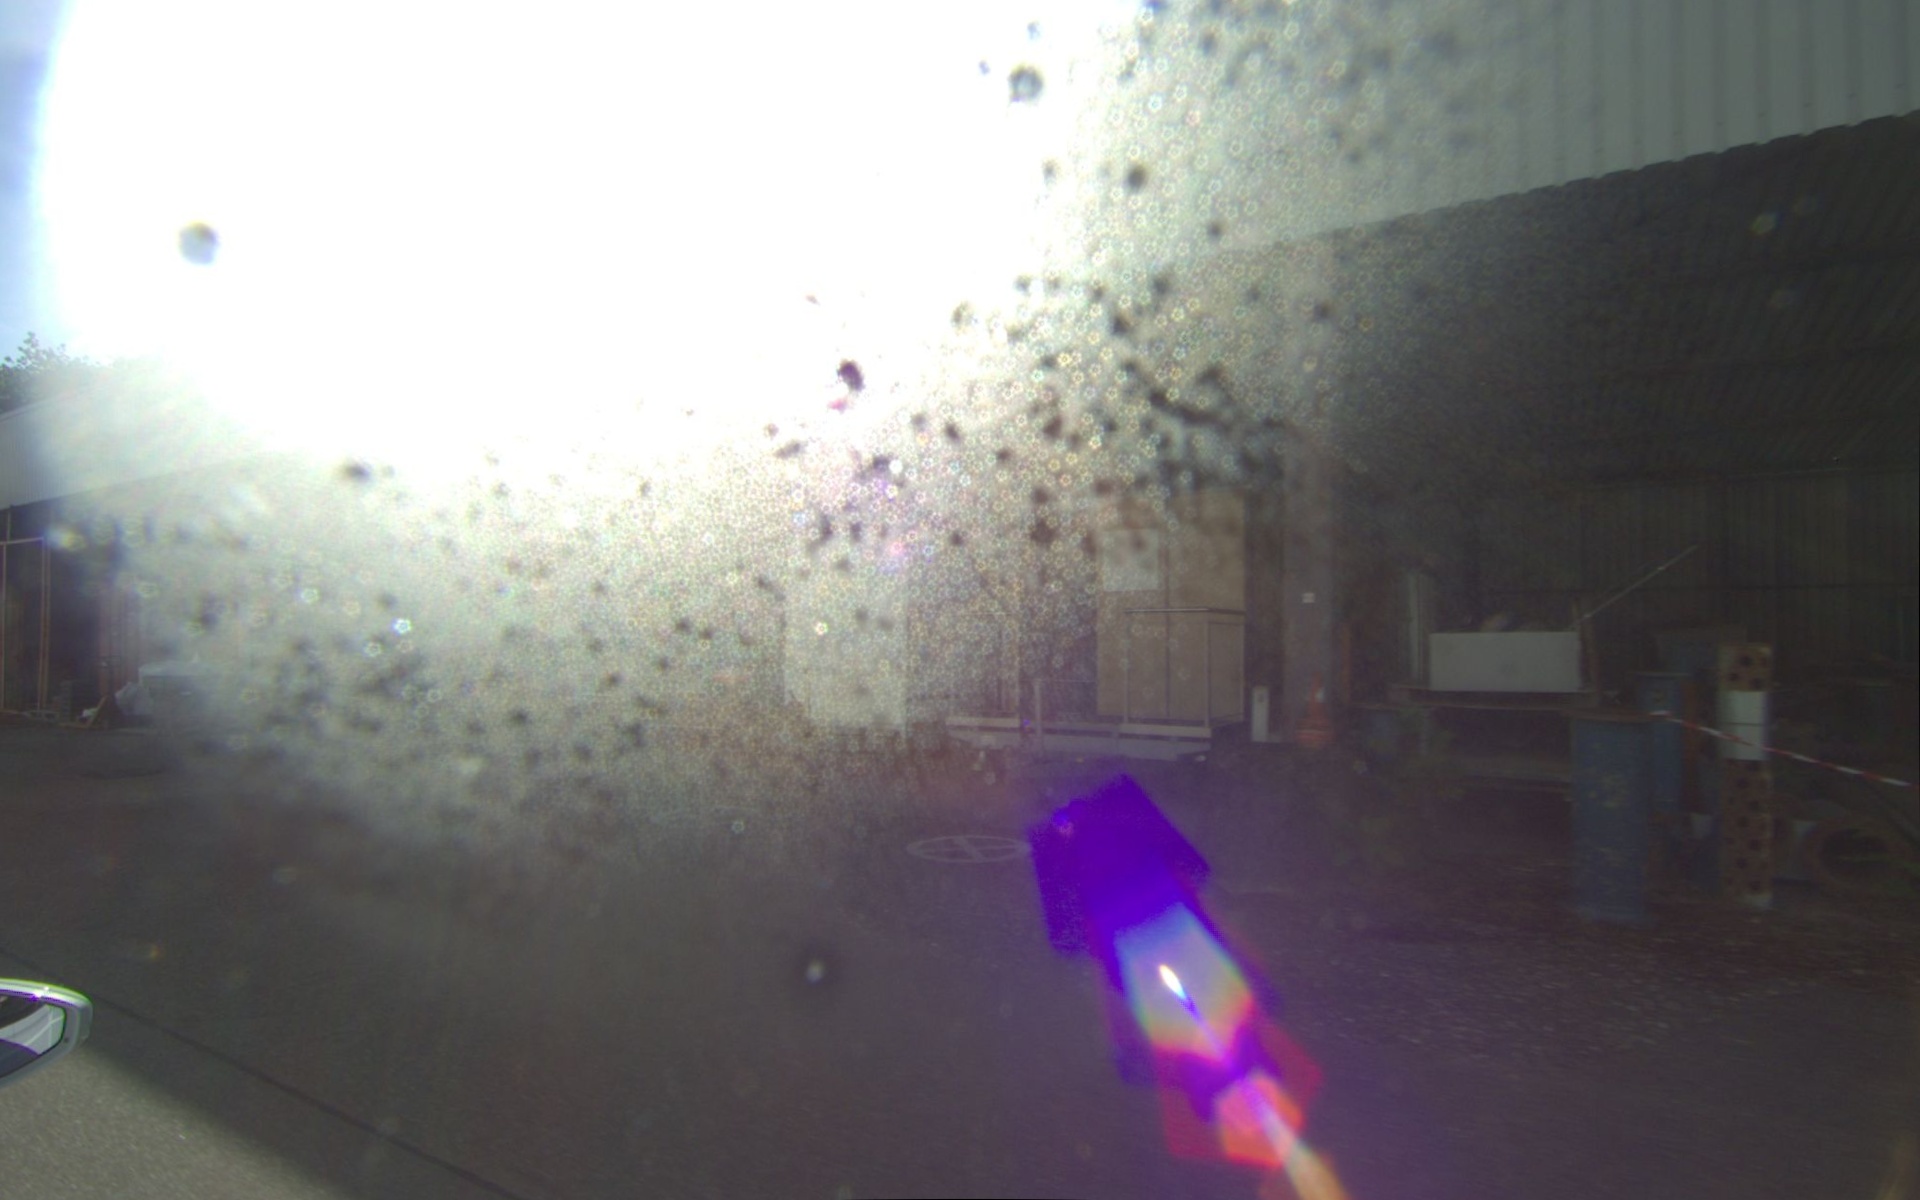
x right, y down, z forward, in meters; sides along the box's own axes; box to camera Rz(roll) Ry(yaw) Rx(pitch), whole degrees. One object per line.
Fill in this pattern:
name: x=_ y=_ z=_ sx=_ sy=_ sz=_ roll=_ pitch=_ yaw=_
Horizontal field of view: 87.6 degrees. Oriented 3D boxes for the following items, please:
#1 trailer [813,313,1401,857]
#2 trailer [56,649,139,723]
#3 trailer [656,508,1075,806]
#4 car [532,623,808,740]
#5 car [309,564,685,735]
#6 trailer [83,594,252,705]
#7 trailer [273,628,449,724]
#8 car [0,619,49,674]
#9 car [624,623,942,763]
trailer: x=2.723 y=0.042 z=11.333 sx=2.761 sy=3.386 sz=10.251 roll=-1 pitch=-2 yaw=32
trailer: x=-13.949 y=1.369 z=16.181 sx=1.524 sy=1.133 sz=0.551 roll=-1 pitch=-1 yaw=30
trailer: x=-0.701 y=0.528 z=10.437 sx=2.018 sy=2.372 sz=4.508 roll=-1 pitch=-2 yaw=32
car: x=-4.248 y=1.163 z=15.292 sx=1.812 sy=1.533 sz=3.962 roll=-1 pitch=-3 yaw=28
car: x=-7.236 y=0.798 z=16.368 sx=2.121 sy=2.309 sz=5.326 roll=-1 pitch=-3 yaw=31
trailer: x=-16.671 y=1.009 z=21.088 sx=2.762 sy=2.171 sz=1.918 roll=-1 pitch=-1 yaw=30
trailer: x=-10.005 y=1.209 z=16.767 sx=1.715 sy=1.485 sz=2.032 roll=-1 pitch=-2 yaw=36
car: x=-35.082 y=1.604 z=34.739 sx=1.967 sy=1.940 sz=4.774 roll=-1 pitch=-3 yaw=23
car: x=-2.070 y=1.090 z=13.024 sx=1.841 sy=1.490 sz=4.246 roll=-1 pitch=-2 yaw=28
